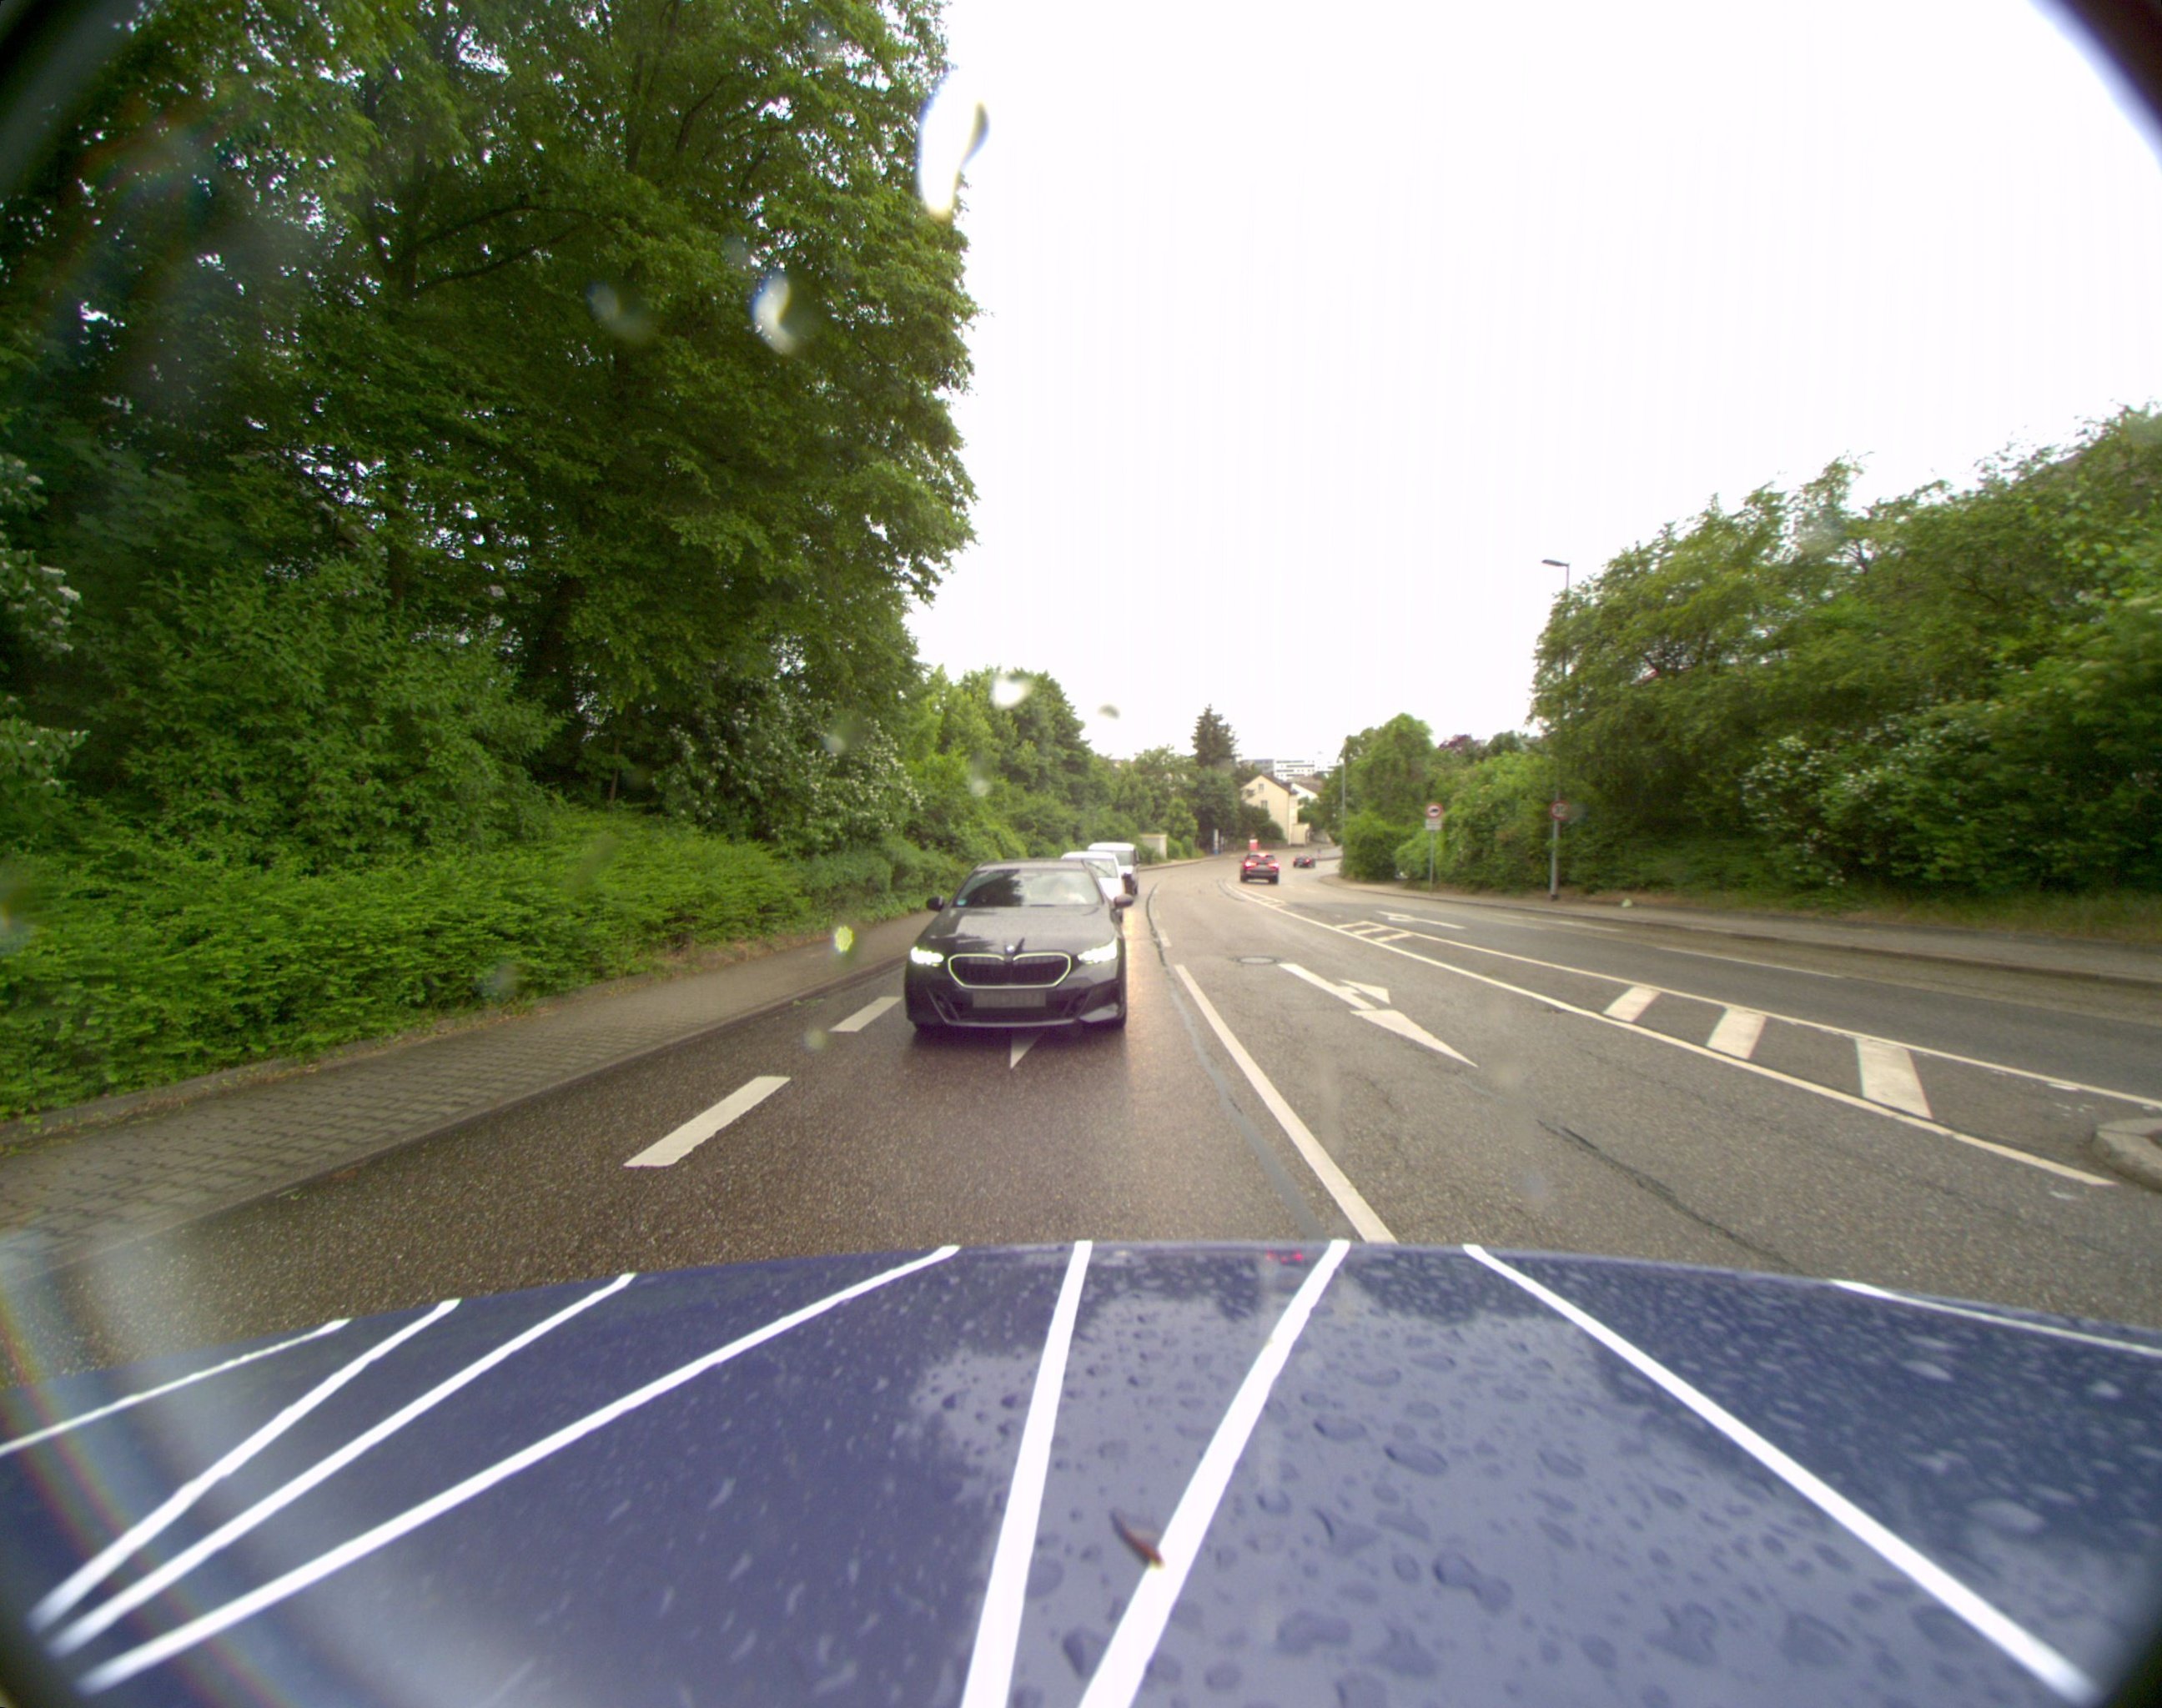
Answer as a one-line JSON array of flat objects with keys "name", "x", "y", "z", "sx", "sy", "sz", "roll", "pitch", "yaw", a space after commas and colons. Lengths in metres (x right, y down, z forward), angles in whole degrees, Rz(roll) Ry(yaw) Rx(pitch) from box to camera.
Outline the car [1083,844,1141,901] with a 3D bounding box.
[{"name": "car", "x": 1.117, "y": 0.546, "z": 25.806, "sx": 1.814, "sy": 1.797, "sz": 4.120, "roll": 0, "pitch": 1, "yaw": 4}]

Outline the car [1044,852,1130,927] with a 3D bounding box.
[{"name": "car", "x": 0.216, "y": 0.744, "z": 18.095, "sx": 1.814, "sy": 1.547, "sz": 4.119, "roll": 0, "pitch": 1, "yaw": 2}]

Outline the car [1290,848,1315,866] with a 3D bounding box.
[{"name": "car", "x": 24.719, "y": 0.342, "z": 84.651, "sx": 1.995, "sy": 1.903, "sz": 4.007, "roll": 0, "pitch": 0, "yaw": 27}]

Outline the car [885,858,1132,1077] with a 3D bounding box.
[{"name": "car", "x": -0.520, "y": 0.873, "z": 7.812, "sx": 1.867, "sy": 1.547, "sz": 4.118, "roll": 0, "pitch": 1, "yaw": 1}]

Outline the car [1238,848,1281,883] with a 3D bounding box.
[{"name": "car", "x": 10.236, "y": 0.625, "z": 43.826, "sx": 1.959, "sy": 1.835, "sz": 4.002, "roll": 2, "pitch": 1, "yaw": 8}]
